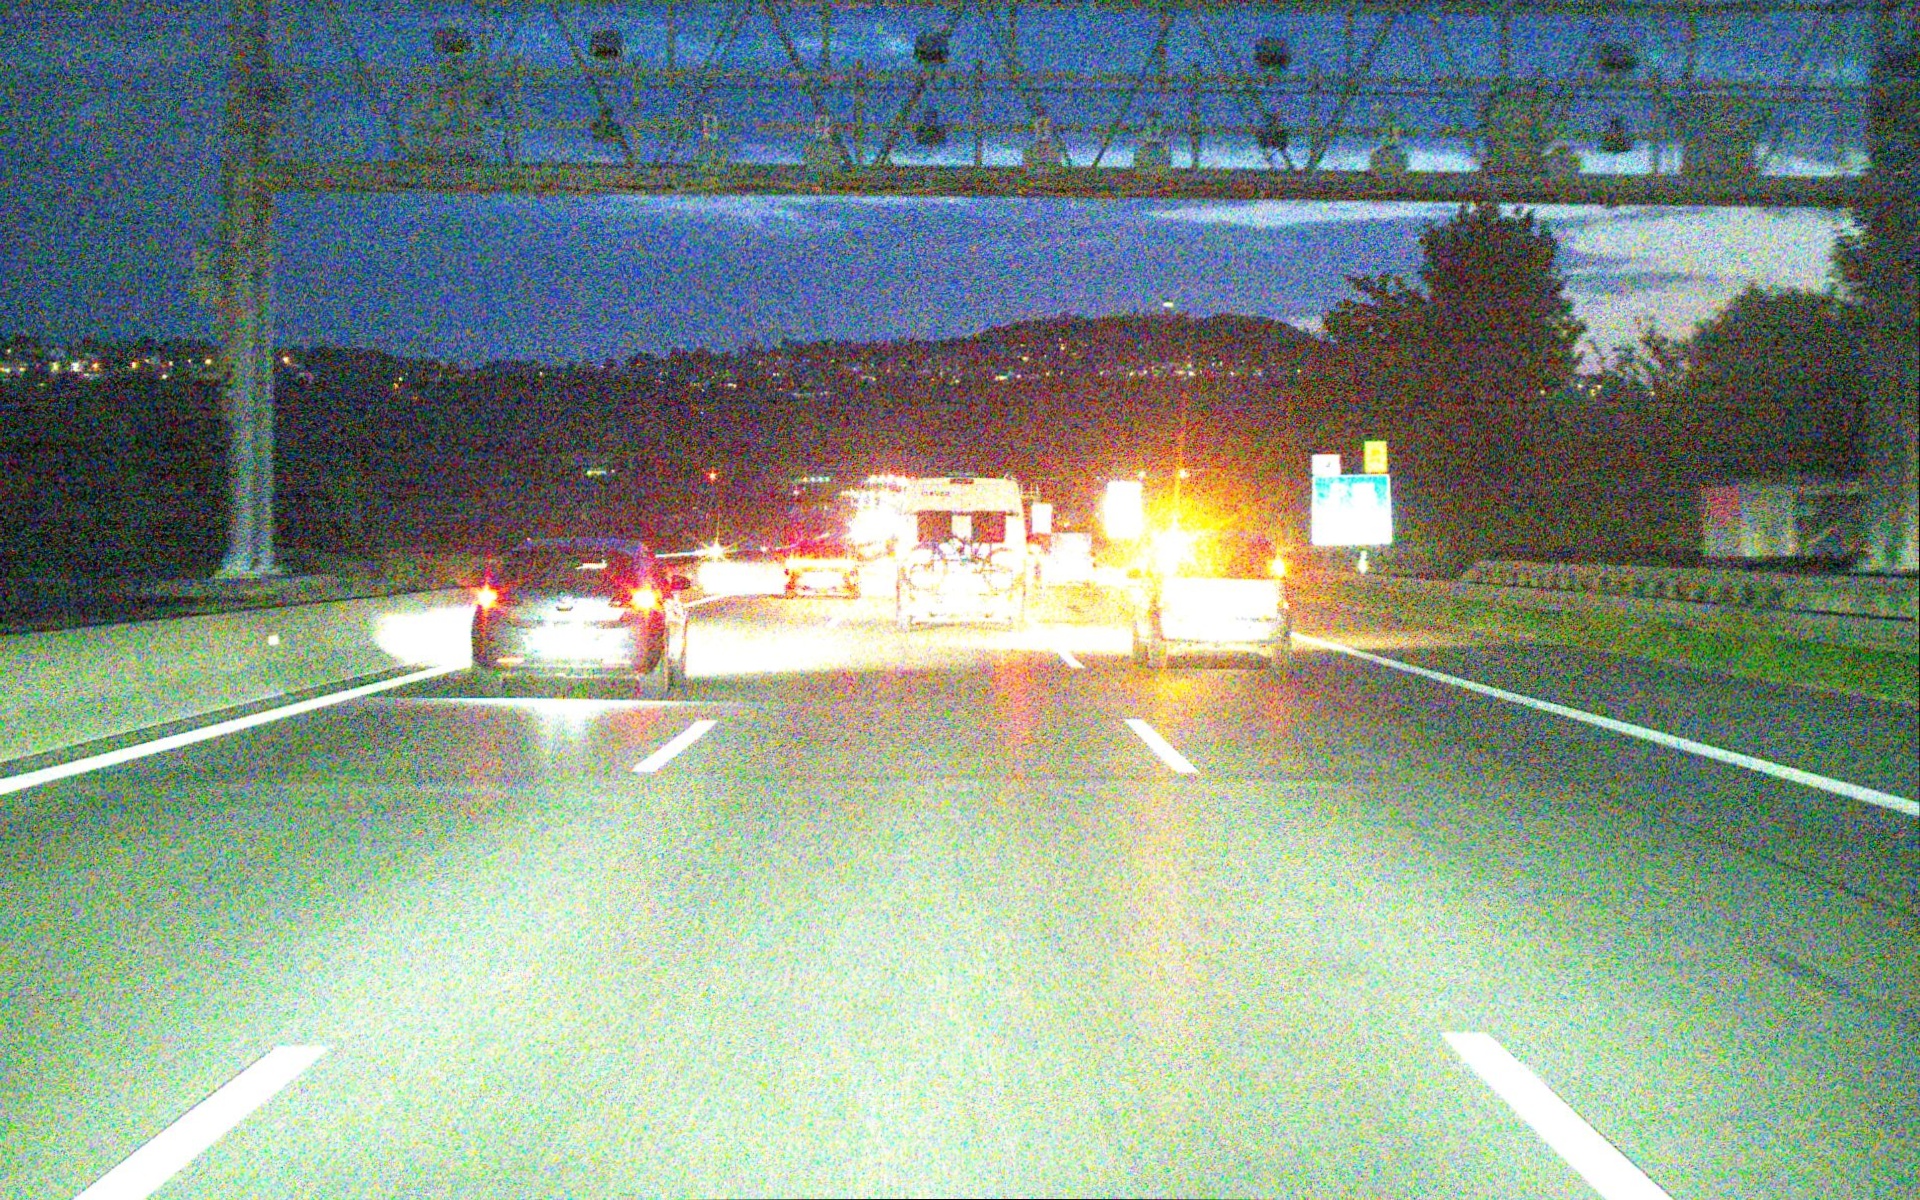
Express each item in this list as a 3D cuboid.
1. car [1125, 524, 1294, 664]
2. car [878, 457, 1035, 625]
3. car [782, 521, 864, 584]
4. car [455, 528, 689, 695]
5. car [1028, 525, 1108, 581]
[{"bbox_3d":[2.977,-0.105,41.830,1.646,1.591,4.510,1,1,-1],"label":"car"},{"bbox_3d":[-0.050,-0.973,55.051,2.351,2.526,5.701,-1,1,0],"label":"car"},{"bbox_3d":[-3.241,-1.149,81.939,1.744,1.435,4.368,-1,1,0],"label":"car"},{"bbox_3d":[-3.633,0.063,32.716,1.793,1.464,3.773,1,1,0],"label":"car"},{"bbox_3d":[3.062,-1.353,98.286,2.163,1.558,4.723,0,1,0],"label":"car"}]
